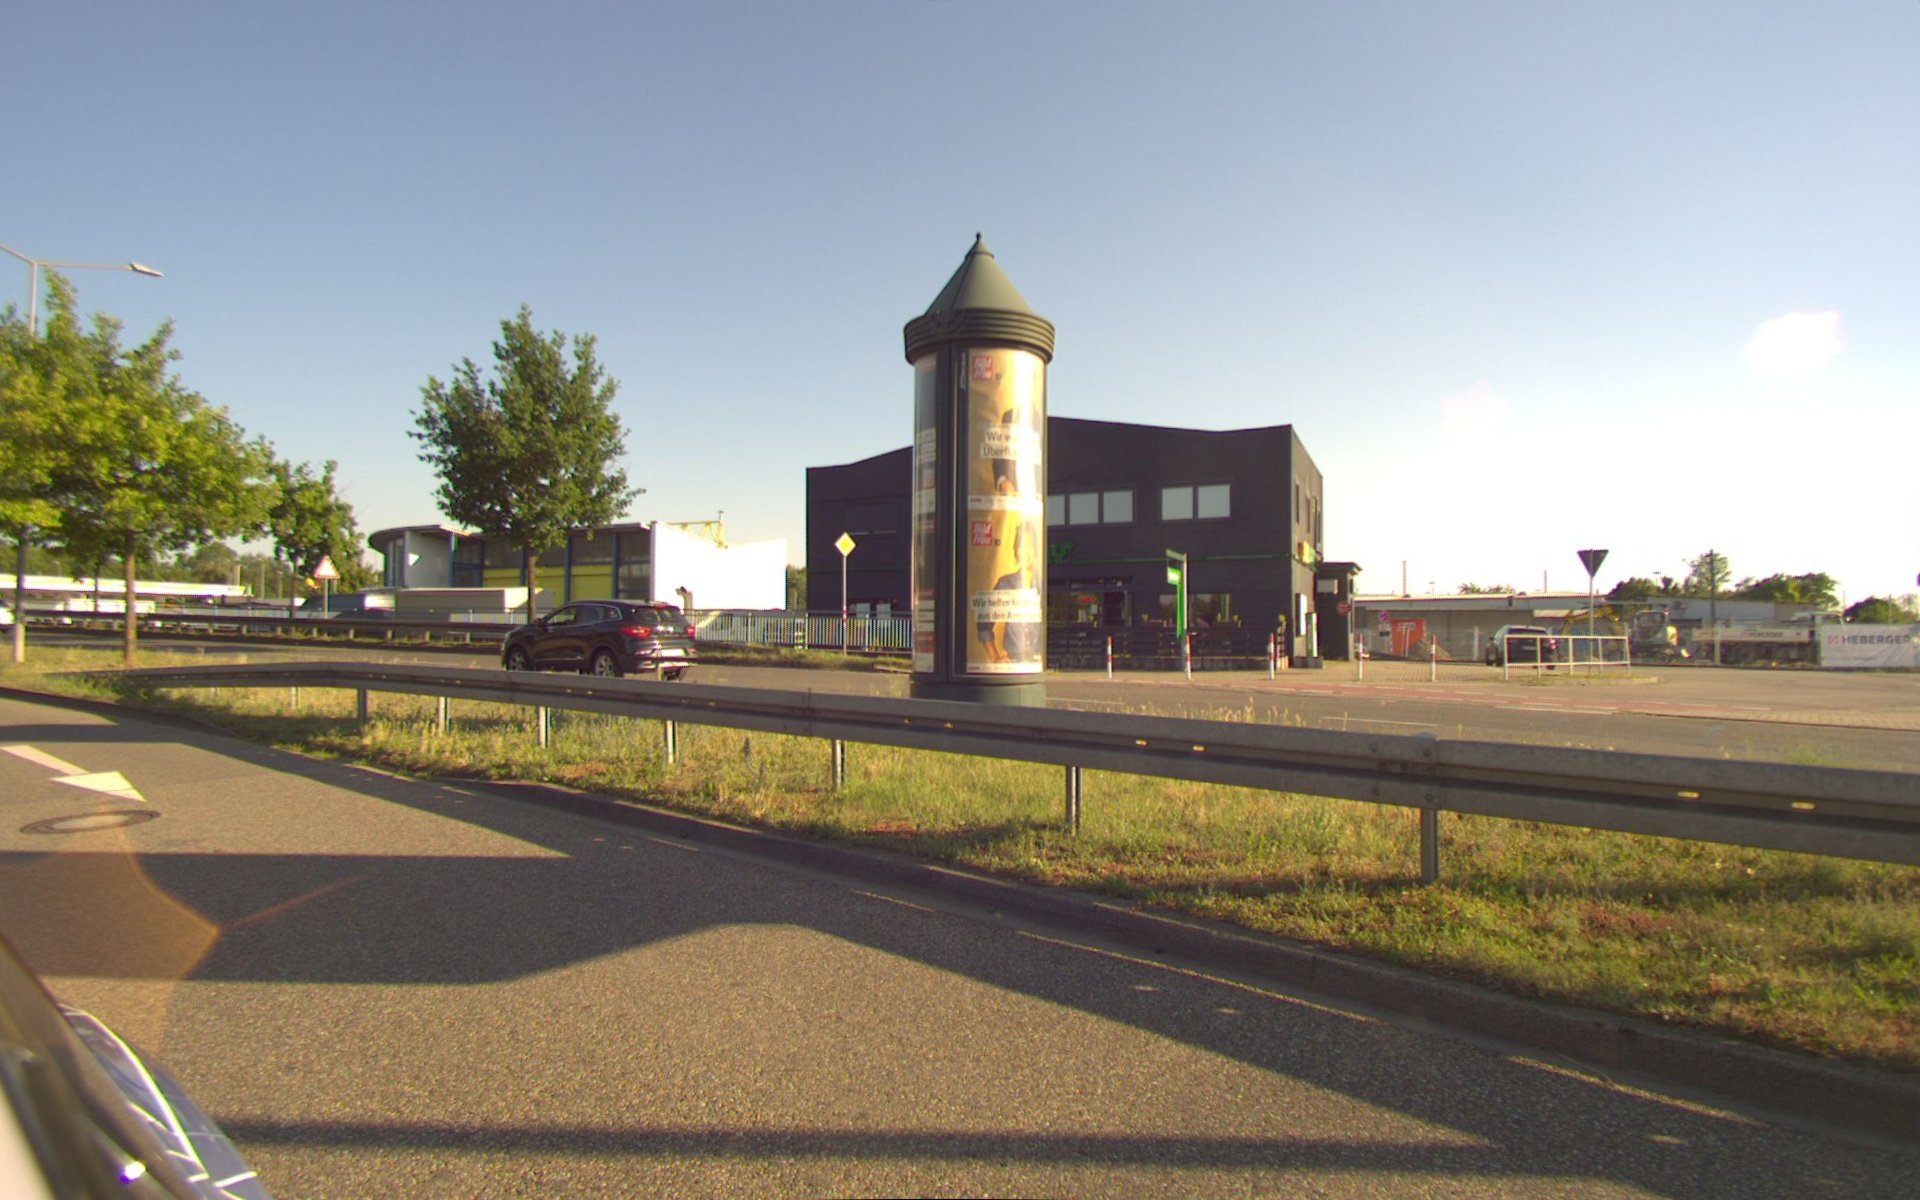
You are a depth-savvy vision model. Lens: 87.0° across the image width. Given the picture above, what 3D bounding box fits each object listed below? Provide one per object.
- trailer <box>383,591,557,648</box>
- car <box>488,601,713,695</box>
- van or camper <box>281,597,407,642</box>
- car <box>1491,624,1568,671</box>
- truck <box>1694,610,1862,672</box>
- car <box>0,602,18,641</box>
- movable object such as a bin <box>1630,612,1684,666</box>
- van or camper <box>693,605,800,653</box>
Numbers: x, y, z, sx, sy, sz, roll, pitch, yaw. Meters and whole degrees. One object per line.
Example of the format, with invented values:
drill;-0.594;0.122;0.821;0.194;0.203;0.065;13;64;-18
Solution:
trailer;-18.755;0.714;38.704;6.569;1.985;2.406;1;-1;26
car;-7.031;0.863;19.647;4.382;1.616;1.831;0;-1;33
van or camper;-25.377;0.778;41.671;4.931;1.698;1.984;1;-1;25
car;19.928;1.614;35.553;1.832;1.541;3.970;0;-1;22
truck;44.181;2.191;54.855;6.704;3.168;2.431;1;-1;10
car;-38.369;0.771;38.854;4.077;1.474;1.665;1;-1;22
movable object such as a bin;36.416;2.026;52.924;2.213;2.735;1.720;0;-1;32
van or camper;-9.470;1.291;44.958;4.157;1.940;2.006;3;-1;-31
